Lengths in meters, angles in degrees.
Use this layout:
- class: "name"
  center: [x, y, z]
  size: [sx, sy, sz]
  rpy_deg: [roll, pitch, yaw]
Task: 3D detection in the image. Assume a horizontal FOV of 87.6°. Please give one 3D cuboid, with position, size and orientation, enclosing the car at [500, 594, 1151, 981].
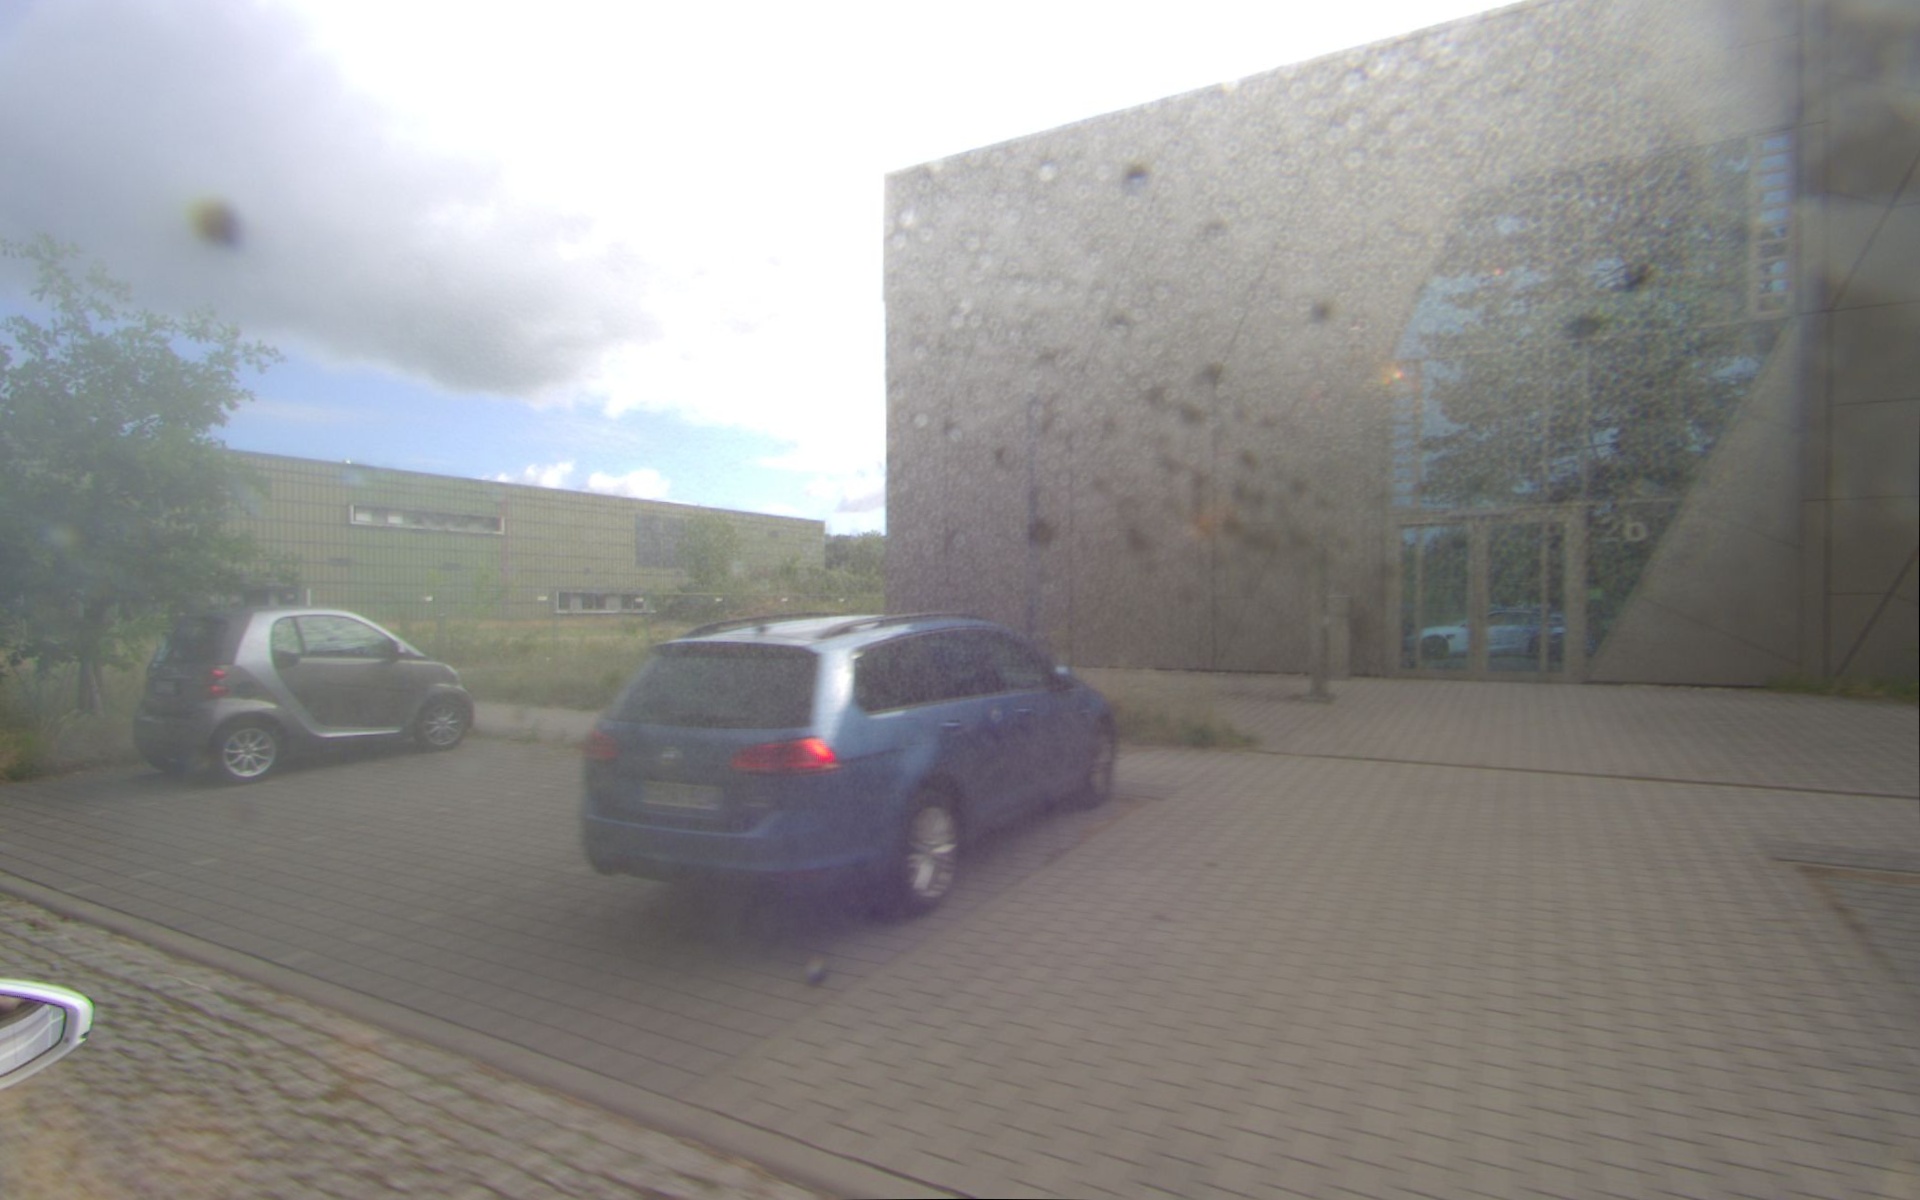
- class: "car"
  center: [-0.361, 0.752, 6.491]
  size: [1.902, 1.470, 4.519]
  rpy_deg: [0, 2, 28]

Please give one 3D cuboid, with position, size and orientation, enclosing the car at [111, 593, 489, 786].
- class: "car"
  center: [-6.575, 0.766, 10.199]
  size: [1.657, 1.604, 2.736]
  rpy_deg: [0, 2, 30]
